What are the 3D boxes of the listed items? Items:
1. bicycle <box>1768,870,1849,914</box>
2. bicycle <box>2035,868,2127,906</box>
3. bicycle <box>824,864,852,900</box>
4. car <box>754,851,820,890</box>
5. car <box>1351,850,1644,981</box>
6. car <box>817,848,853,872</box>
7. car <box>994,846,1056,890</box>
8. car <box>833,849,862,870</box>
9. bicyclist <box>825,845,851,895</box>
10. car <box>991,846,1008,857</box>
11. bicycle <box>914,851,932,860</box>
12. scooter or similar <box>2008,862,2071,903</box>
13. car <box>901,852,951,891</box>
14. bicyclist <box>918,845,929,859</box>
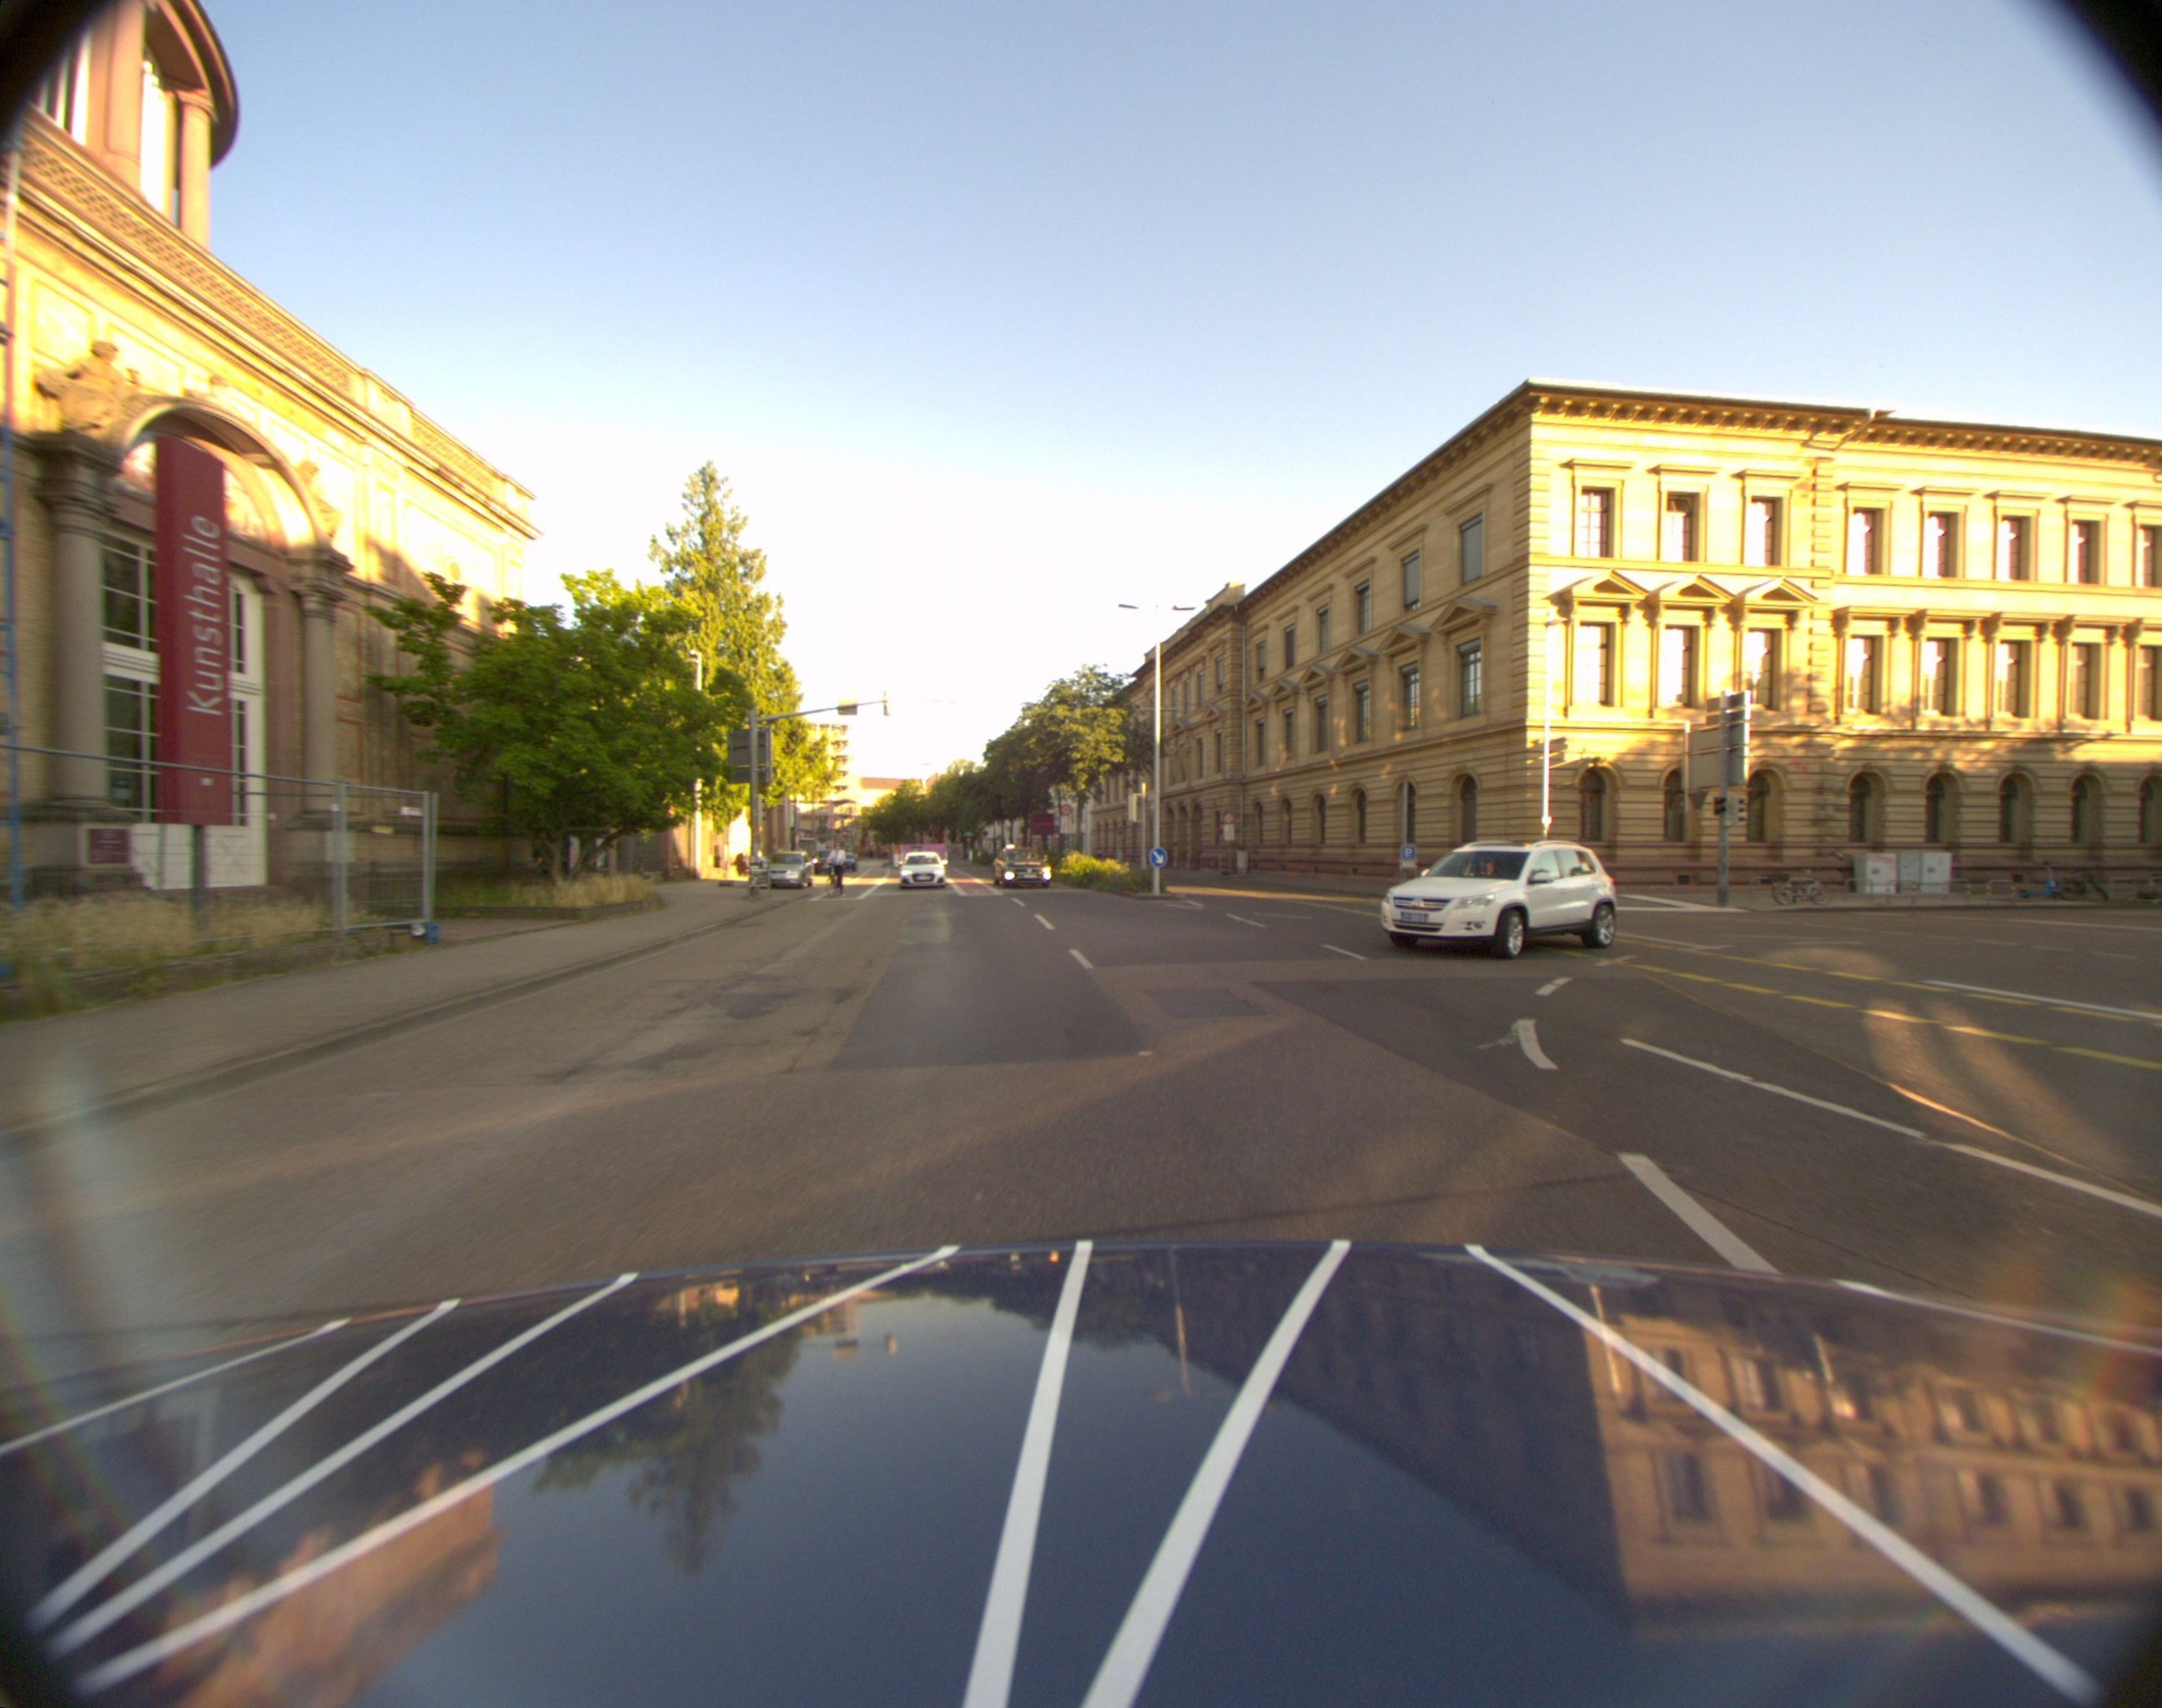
[{"bbox_3d":[21.048,1.080,21.994,1.920,1.182,0.583,-1,1,-6],"label":"bicycle"},{"bbox_3d":[31.757,1.048,24.142,1.944,1.128,0.829,0,4,-6],"label":"bicycle"},{"bbox_3d":[-8.052,0.920,25.210,0.496,1.094,1.666,-2,1,-5],"label":"bicycle"},{"bbox_3d":[-11.647,0.604,30.345,1.715,1.436,4.194,0,1,-11],"label":"car"},{"bbox_3d":[6.513,0.780,11.769,4.550,1.667,1.953,0,1,-31],"label":"car"},{"bbox_3d":[-15.992,0.354,49.540,1.835,1.483,4.071,-1,1,-13],"label":"car"},{"bbox_3d":[-2.294,0.475,29.976,1.835,1.603,4.071,-1,1,-13],"label":"car"},{"bbox_3d":[-16.861,0.372,55.043,1.689,1.483,4.071,-1,1,-13],"label":"car"},{"bbox_3d":[-8.095,0.525,25.347,0.667,1.635,0.520,-2,2,-5],"label":"bicyclist"},{"bbox_3d":[-13.579,-0.431,126.056,1.720,1.649,3.817,0,1,-24],"label":"car"},{"bbox_3d":[-14.720,0.153,70.736,0.588,0.835,1.751,1,1,36],"label":"bicycle"},{"bbox_3d":[30.327,0.886,24.061,0.583,1.189,1.134,1,3,12],"label":"scooter or similar"},{"bbox_3d":[-6.285,0.647,30.661,1.835,1.383,4.017,-1,1,-13],"label":"car"},{"bbox_3d":[-14.677,-0.188,70.795,0.588,1.216,0.799,1,1,33],"label":"bicyclist"}]
